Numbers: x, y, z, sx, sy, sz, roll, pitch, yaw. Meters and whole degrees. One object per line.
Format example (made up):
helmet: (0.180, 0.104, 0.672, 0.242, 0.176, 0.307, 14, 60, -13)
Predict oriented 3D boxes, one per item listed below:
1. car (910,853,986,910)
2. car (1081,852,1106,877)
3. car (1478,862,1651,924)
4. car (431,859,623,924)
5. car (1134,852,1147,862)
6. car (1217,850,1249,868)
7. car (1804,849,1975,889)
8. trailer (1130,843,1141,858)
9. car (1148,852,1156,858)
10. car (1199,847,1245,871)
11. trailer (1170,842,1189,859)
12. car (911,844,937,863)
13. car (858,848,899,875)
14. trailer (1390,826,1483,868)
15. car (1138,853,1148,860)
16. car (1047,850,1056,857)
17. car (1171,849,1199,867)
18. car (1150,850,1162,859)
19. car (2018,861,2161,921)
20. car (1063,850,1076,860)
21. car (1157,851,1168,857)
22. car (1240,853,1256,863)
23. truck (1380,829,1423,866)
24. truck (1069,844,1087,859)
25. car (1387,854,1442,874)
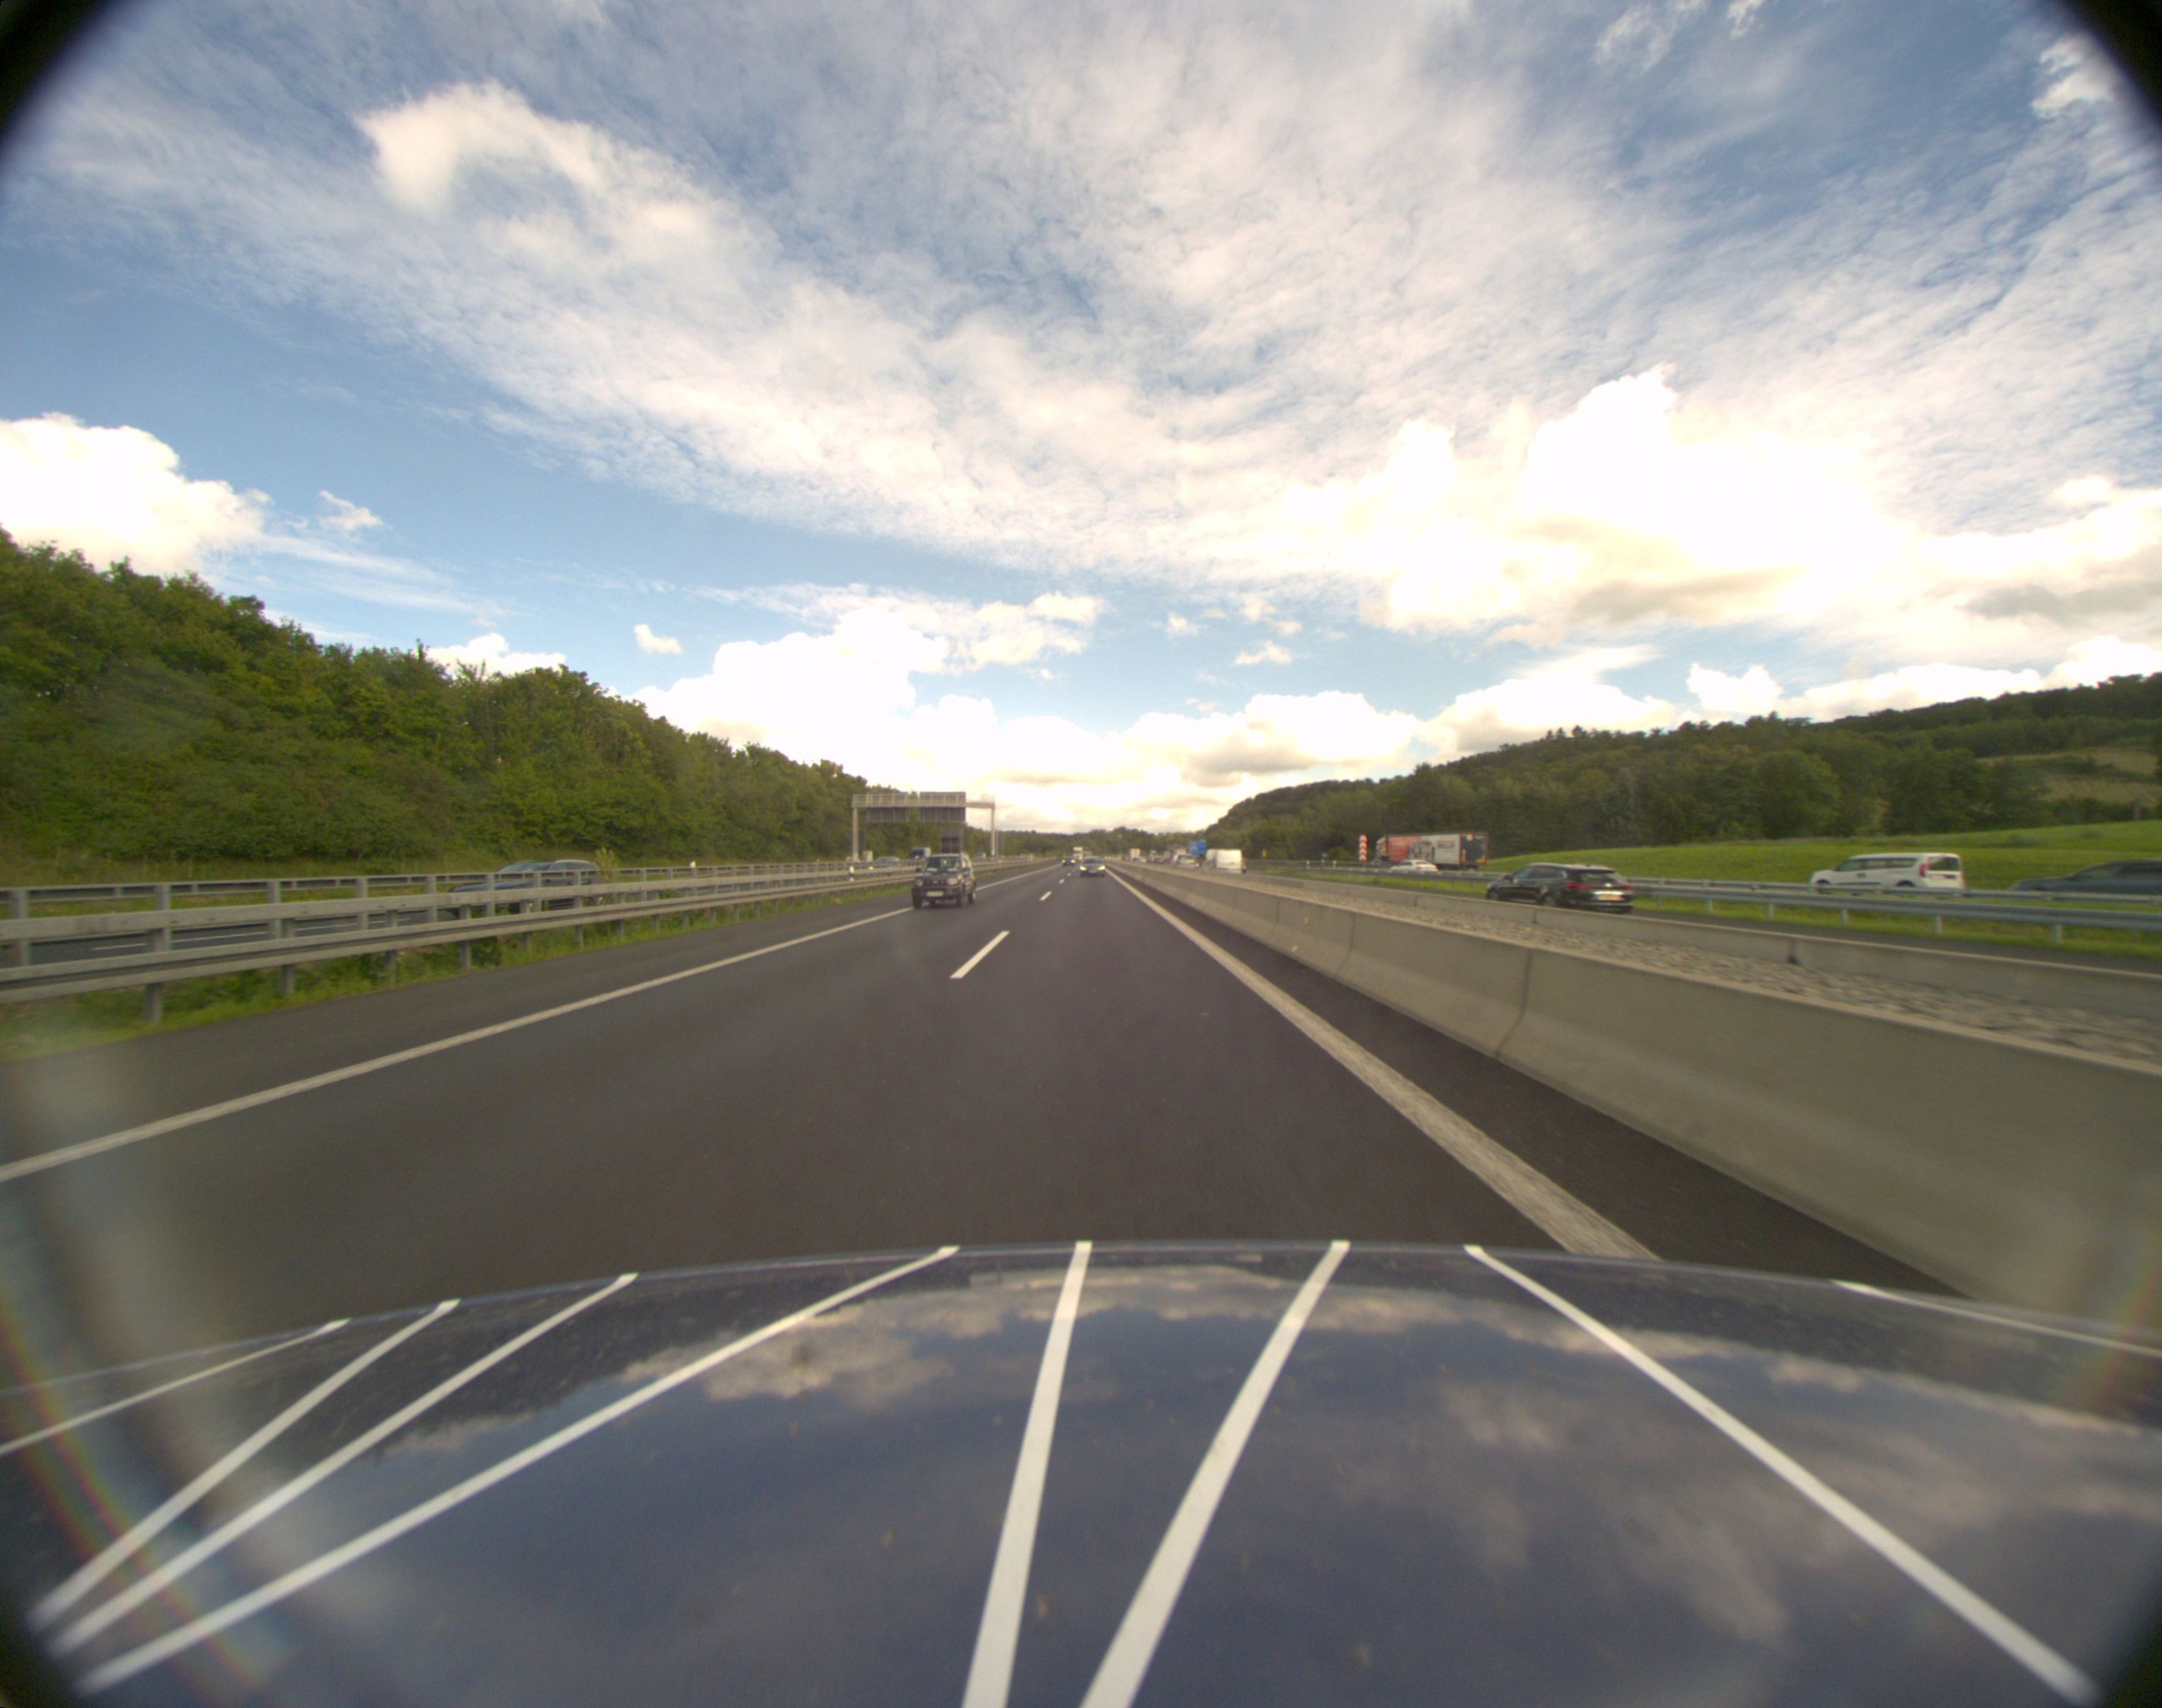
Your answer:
car: (-4.347, 0.853, 25.432, 1.670, 1.722, 4.207, 0, 1, 2)
car: (0.955, 0.734, 55.083, 1.724, 1.722, 3.939, 0, 1, 2)
car: (12.862, 0.964, 20.635, 1.758, 1.394, 4.691, 1, 1, 1)
car: (-14.690, 0.919, 20.517, 1.998, 1.476, 4.310, -1, 1, 0)
car: (10.750, 0.534, 137.603, 1.932, 1.608, 5.418, 1, 1, 1)
car: (13.650, 0.430, 68.625, 1.998, 1.523, 4.507, 1, 1, 0)
car: (33.878, 0.577, 32.097, 1.777, 1.539, 4.887, 1, 1, -4)
trailer: (15.925, -1.080, 223.797, 2.494, 4.105, 13.282, 1, 1, 1)
car: (20.482, 0.230, 219.169, 1.998, 1.608, 5.002, 1, 1, 1)
car: (9.289, 0.286, 50.486, 1.998, 1.523, 5.747, 1, 1, 0)
trailer: (30.734, -1.244, 237.497, 3.117, 5.130, 14.713, 1, 1, -3)
car: (-18.570, -0.041, 90.138, 1.998, 2.173, 5.127, -1, 1, 0)
car: (-15.462, 0.532, 58.265, 1.998, 2.002, 4.000, 1, 1, 1)
trailer: (33.834, -0.660, 73.194, 1.999, 3.715, 13.239, 1, 1, -3)
car: (14.823, 0.496, 180.835, 1.998, 1.608, 5.002, 1, 1, 1)
car: (-7.756, -0.135, 200.618, 1.998, 1.608, 5.003, 1, 1, 3)
car: (9.585, 0.328, 70.447, 1.998, 1.523, 5.021, 1, 1, 0)
car: (13.842, 0.104, 140.571, 1.805, 1.608, 4.301, 1, 1, 1)
car: (29.575, 1.023, 20.734, 1.777, 1.539, 4.887, 1, 1, -4)
car: (-1.905, 0.180, 126.261, 1.998, 1.591, 4.000, 1, 1, 1)
car: (19.442, 0.019, 181.032, 1.999, 1.443, 5.001, 1, 1, 0)
car: (28.682, 0.645, 130.681, 1.805, 1.608, 4.301, 1, 1, 1)
truck: (33.452, -0.716, 79.501, 1.999, 3.740, 5.147, 1, 1, -4)
truck: (-0.807, -0.905, 227.917, 4.947, 4.306, 14.629, 1, 1, 1)
car: (25.364, 0.738, 57.953, 1.778, 1.392, 4.395, 1, 1, -7)
